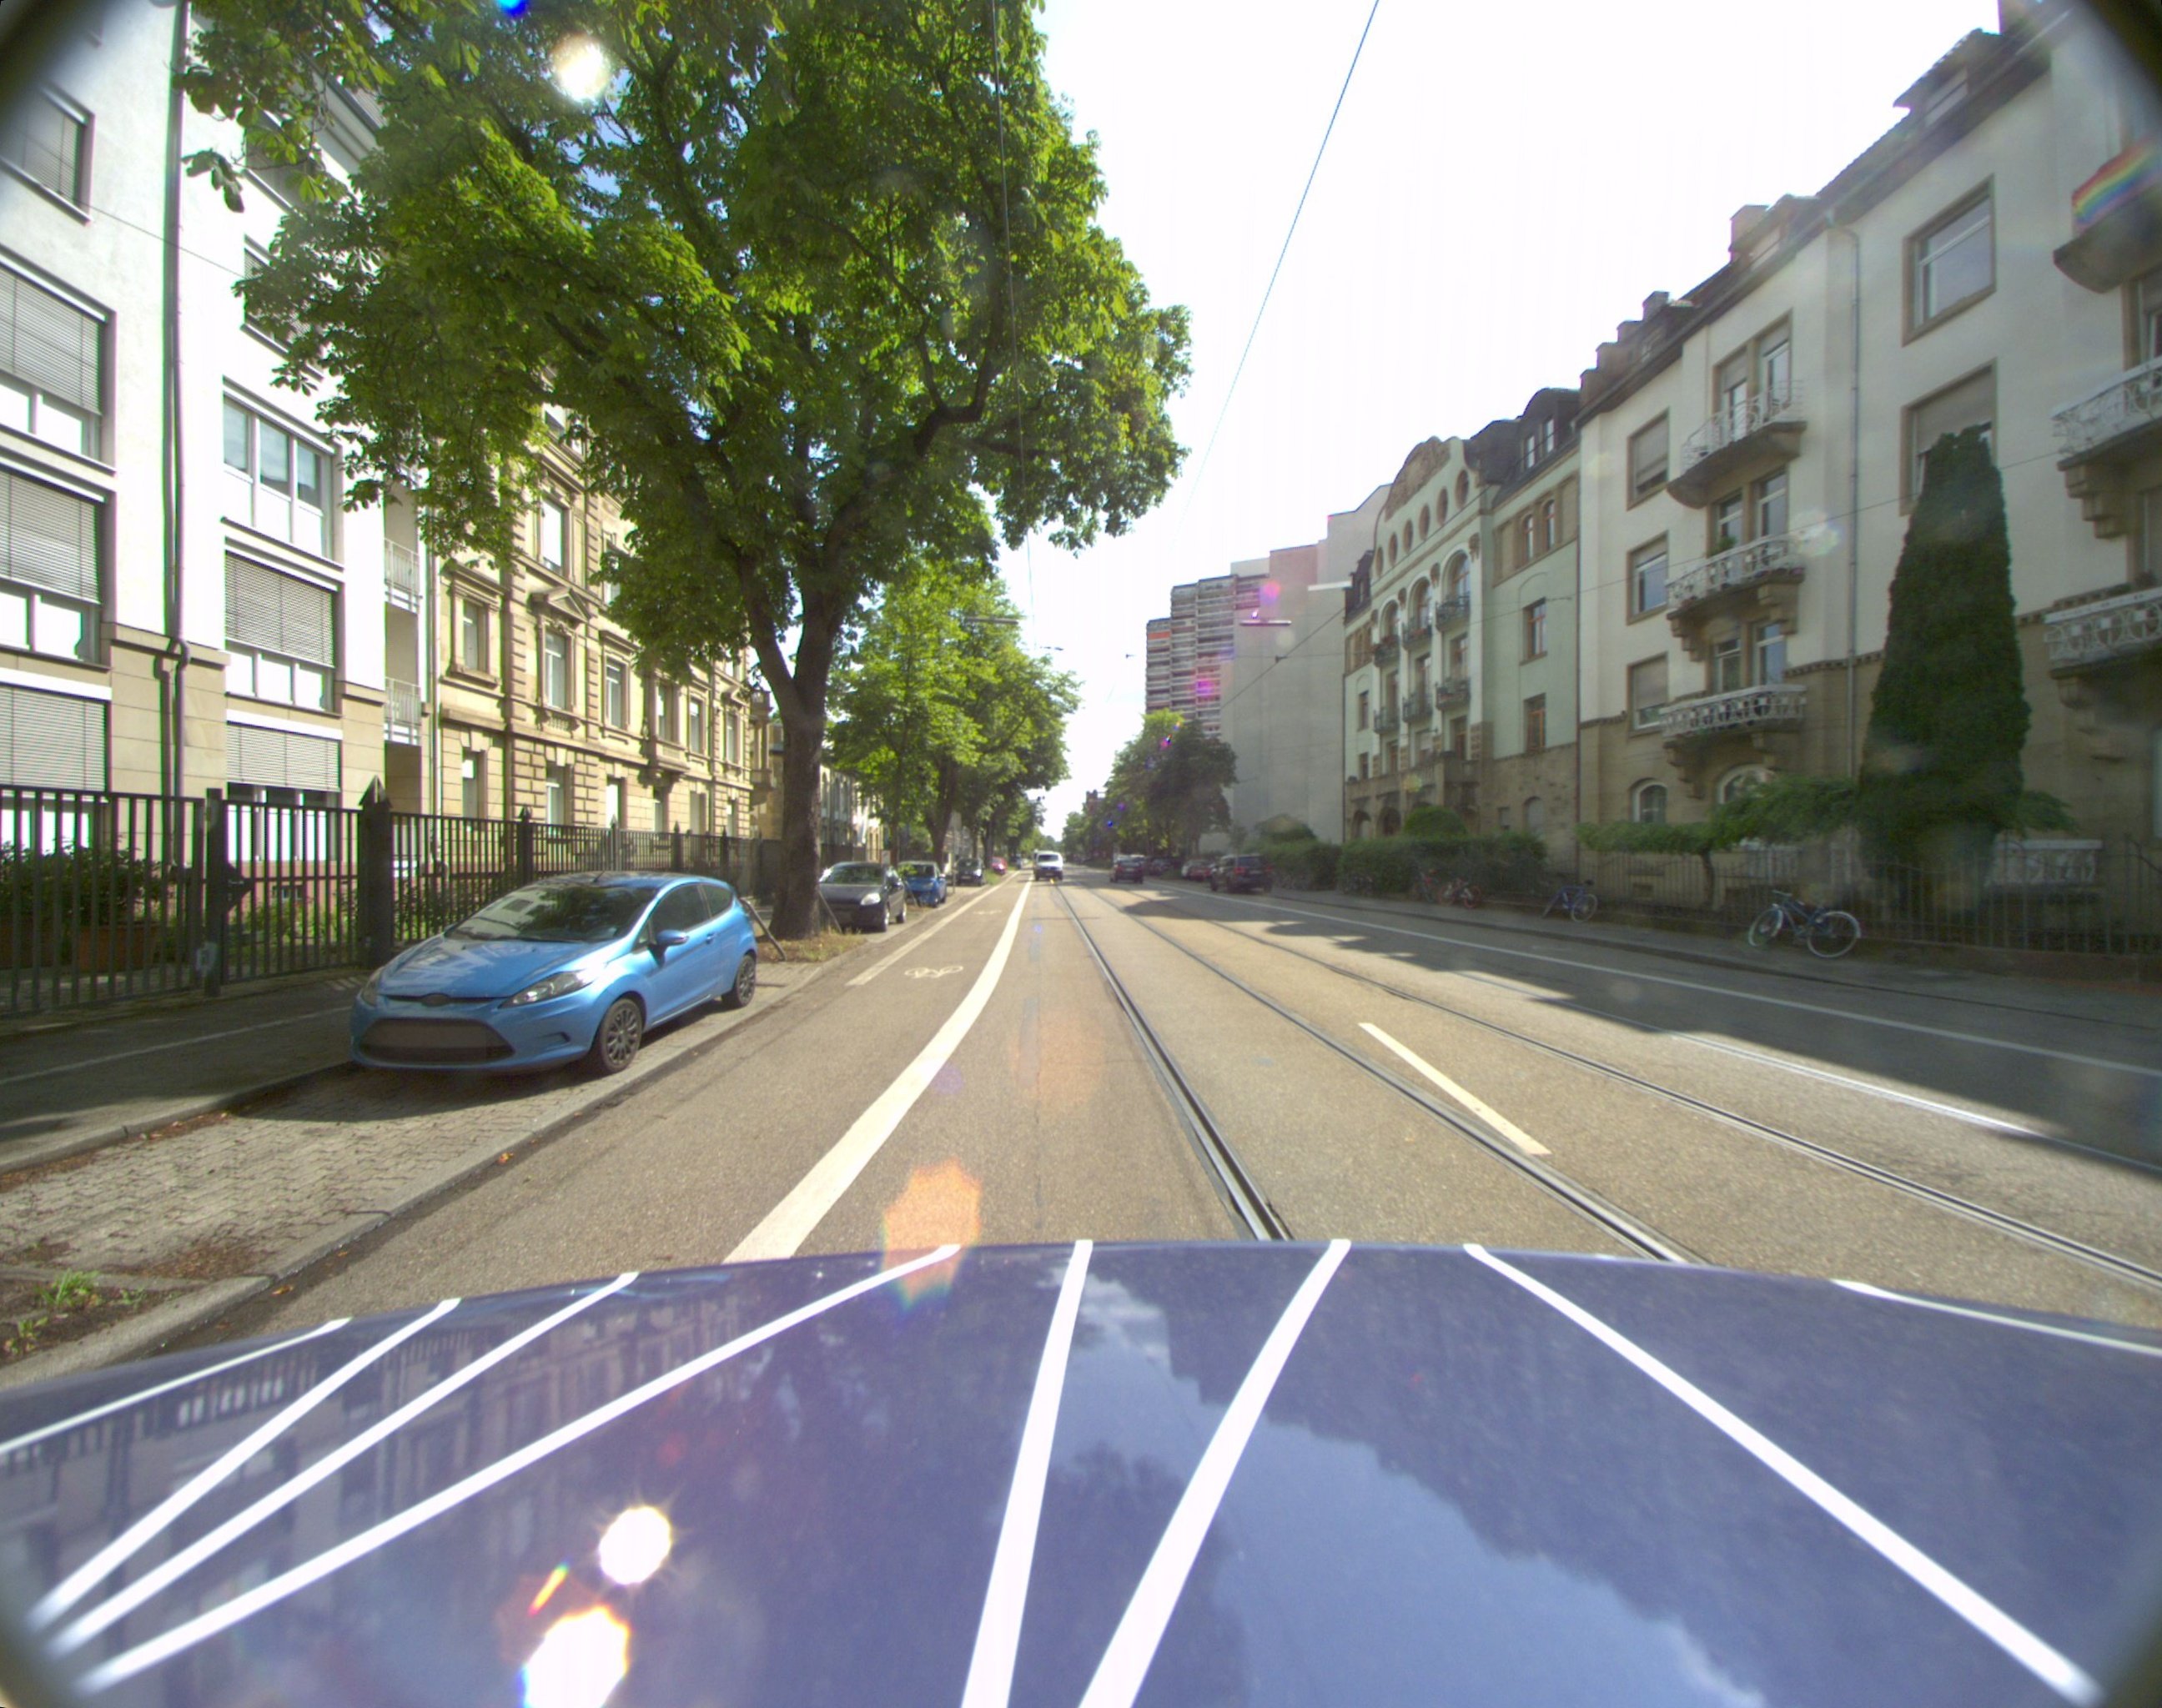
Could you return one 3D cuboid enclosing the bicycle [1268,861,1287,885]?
[{"bbox_3d":[9.938,0.945,38.434,0.468,1.128,1.787,0,0,-1],"label":"bicycle"}]

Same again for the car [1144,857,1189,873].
[{"bbox_3d":[7.835,1.003,69.596,3.994,1.499,2.001,0,0,8],"label":"car"}]

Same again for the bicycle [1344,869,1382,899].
[{"bbox_3d":[10.085,1.059,27.284,0.605,0.990,1.981,0,0,-1],"label":"bicycle"}]

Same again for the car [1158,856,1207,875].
[{"bbox_3d":[8.438,0.954,63.322,3.994,1.499,2.001,0,0,8],"label":"car"}]

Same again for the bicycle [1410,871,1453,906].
[{"bbox_3d":[10.678,1.027,23.198,0.468,0.990,1.787,0,0,-1],"label":"bicycle"}]

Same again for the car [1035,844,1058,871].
[{"bbox_3d":[-3.367,0.304,74.791,2.147,2.568,4.817,0,0,-2],"label":"car"}]

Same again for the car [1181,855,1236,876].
[{"bbox_3d":[9.587,0.854,57.275,3.994,1.499,2.001,0,0,8],"label":"car"}]

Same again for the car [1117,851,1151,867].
[{"bbox_3d":[6.317,0.531,89.698,1.994,1.740,4.008,-1,1,41],"label":"car"}]

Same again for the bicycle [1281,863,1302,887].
[{"bbox_3d":[10.040,0.990,36.337,0.468,1.128,1.787,0,0,-1],"label":"bicycle"}]

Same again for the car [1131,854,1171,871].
[{"bbox_3d":[7.330,0.891,79.440,3.994,1.672,2.001,0,0,8],"label":"car"}]

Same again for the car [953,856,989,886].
[{"bbox_3d":[-6.271,0.942,43.723,1.744,1.564,3.659,3,0,-4],"label":"car"}]

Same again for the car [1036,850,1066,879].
[{"bbox_3d":[-2.095,0.716,53.568,1.974,1.901,4.817,0,0,-2],"label":"car"}]

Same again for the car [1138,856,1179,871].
[{"bbox_3d":[7.751,0.973,75.966,3.994,1.499,2.001,0,0,8],"label":"car"}]

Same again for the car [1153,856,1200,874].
[{"bbox_3d":[8.337,0.966,66.478,3.994,1.499,2.001,0,0,8],"label":"car"}]

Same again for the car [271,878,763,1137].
[{"bbox_3d":[-4.323,1.037,6.636,1.647,1.467,3.660,3,0,-3],"label":"car"}]

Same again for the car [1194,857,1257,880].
[{"bbox_3d":[9.494,0.929,50.219,3.994,1.499,2.001,0,0,8],"label":"car"}]

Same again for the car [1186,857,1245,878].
[{"bbox_3d":[9.455,0.937,53.727,3.994,1.499,2.001,0,0,8],"label":"car"}]

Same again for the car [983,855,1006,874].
[{"bbox_3d":[-7.551,0.881,66.677,1.744,1.564,3.928,3,0,-4],"label":"car"}]

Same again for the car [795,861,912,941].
[{"bbox_3d":[-4.930,0.956,16.933,1.679,1.467,3.659,3,0,-4],"label":"car"}]

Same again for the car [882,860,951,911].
[{"bbox_3d":[-5.348,0.973,25.147,1.679,1.467,3.659,3,0,-4],"label":"car"}]

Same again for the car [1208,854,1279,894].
[{"bbox_3d":[7.222,0.842,34.252,1.922,1.685,4.400,0,0,-5],"label":"car"}]

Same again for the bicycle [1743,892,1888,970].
[{"bbox_3d":[11.090,1.120,11.571,0.467,0.990,1.979,0,0,7],"label":"bicycle"}]

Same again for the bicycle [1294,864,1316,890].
[{"bbox_3d":[10.125,1.011,34.395,0.468,1.128,1.787,0,0,-1],"label":"bicycle"}]

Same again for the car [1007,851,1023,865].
[{"bbox_3d":[-7.932,0.517,91.351,1.744,1.564,3.928,3,0,-4],"label":"car"}]

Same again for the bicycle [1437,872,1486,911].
[{"bbox_3d":[10.642,1.033,21.299,0.468,0.990,1.787,0,0,-1],"label":"bicycle"}]

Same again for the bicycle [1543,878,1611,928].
[{"bbox_3d":[10.937,1.046,16.815,0.467,0.990,1.787,0,0,5],"label":"bicycle"}]

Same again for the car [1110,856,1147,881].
[{"bbox_3d":[2.945,0.868,47.875,1.761,1.509,4.067,0,0,-4],"label":"car"}]
